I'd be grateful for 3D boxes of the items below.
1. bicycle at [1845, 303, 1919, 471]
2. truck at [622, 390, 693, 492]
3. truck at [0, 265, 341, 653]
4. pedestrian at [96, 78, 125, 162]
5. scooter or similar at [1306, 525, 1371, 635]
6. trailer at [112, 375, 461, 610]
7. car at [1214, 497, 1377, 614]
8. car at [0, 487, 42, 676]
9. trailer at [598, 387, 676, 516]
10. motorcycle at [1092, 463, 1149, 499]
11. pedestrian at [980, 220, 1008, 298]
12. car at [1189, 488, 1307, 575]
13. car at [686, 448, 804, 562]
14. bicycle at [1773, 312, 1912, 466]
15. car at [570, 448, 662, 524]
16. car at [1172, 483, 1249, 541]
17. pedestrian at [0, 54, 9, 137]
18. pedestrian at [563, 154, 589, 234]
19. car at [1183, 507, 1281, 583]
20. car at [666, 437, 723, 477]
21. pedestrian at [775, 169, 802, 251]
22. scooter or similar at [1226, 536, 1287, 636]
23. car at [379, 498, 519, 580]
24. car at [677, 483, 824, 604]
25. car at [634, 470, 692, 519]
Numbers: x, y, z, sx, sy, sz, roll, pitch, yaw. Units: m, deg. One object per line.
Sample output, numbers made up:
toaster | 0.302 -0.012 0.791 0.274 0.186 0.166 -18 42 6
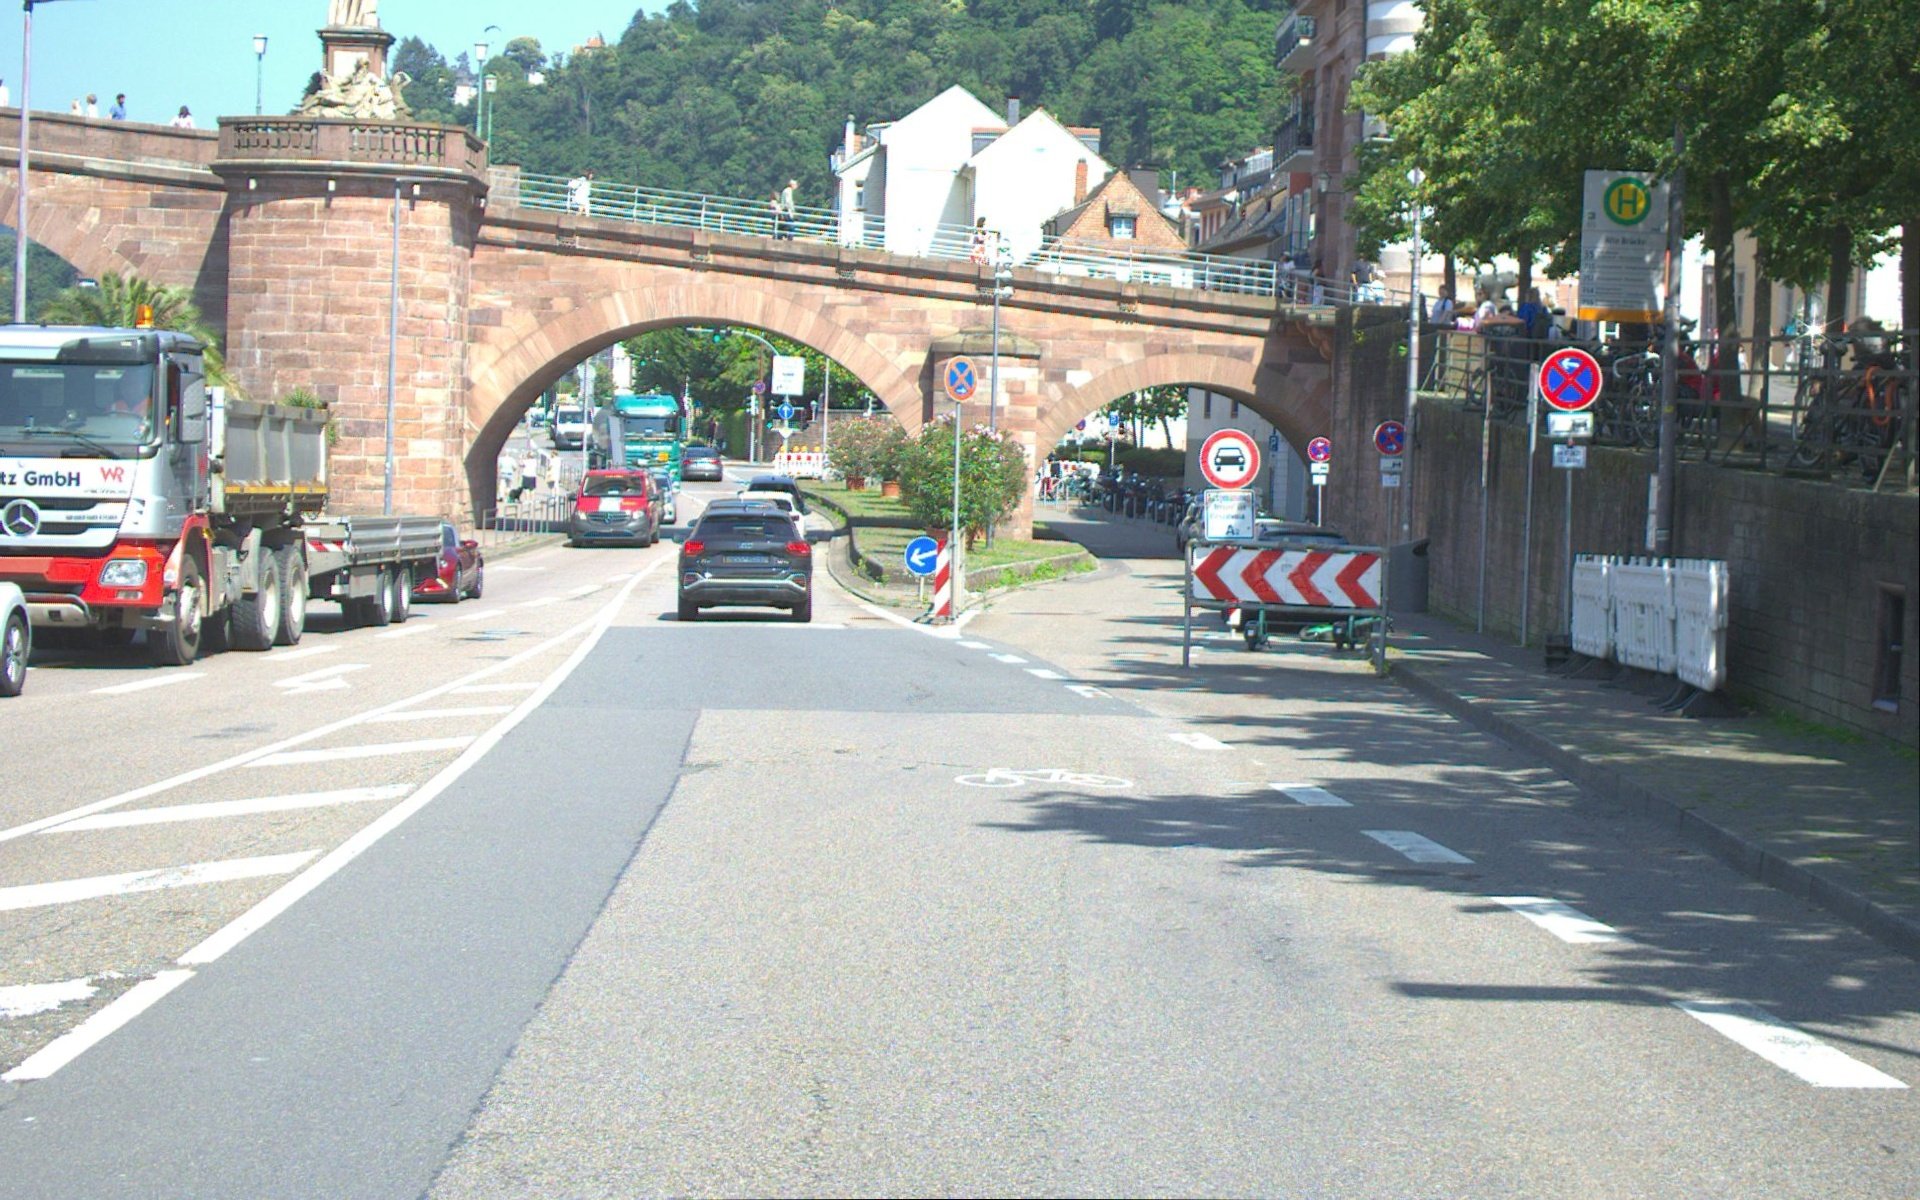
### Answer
bicycle | 6.425 -1.441 23.588 0.410 1.102 1.734 1 2 6
truck | -11.414 -6.076 130.102 2.523 3.735 6.248 0 4 -3
truck | -8.327 -1.363 34.501 2.642 3.445 7.872 0 2 1
pedestrian | -21.284 -12.022 86.120 0.623 2.006 0.695 1 2 -9
scooter or similar | 4.349 -0.240 39.458 0.532 1.226 1.270 1 2 15
trailer | -8.179 -1.314 42.652 2.697 2.522 6.947 4 2 1
car | 4.514 -0.647 46.839 1.843 1.445 4.535 2 2 1
car | -8.205 -0.130 25.228 1.778 1.438 3.997 1 2 1
trailer | -8.431 -3.882 89.951 1.742 3.308 3.384 0 2 0
motorcycle | 5.839 -4.330 125.258 2.191 1.262 0.628 -1 4 -40
pedestrian | 0.910 -9.116 91.943 0.684 2.006 0.586 1 2 -2
car | 5.123 -1.251 61.503 1.711 1.452 3.548 2 2 -1
car | -3.941 -1.784 63.636 1.993 2.006 4.001 1 2 -1
bicycle | 6.542 -1.548 25.559 0.410 1.102 1.735 0 2 -6
car | -8.424 -2.826 84.480 1.874 1.821 4.545 0 3 -1
car | 7.011 -2.497 96.529 1.893 1.487 4.417 1 3 1
pedestrian | -24.227 -12.666 86.268 0.623 2.006 0.695 1 2 -9
pedestrian | -10.034 -10.604 89.803 0.581 2.006 0.586 1 2 -2
car | 5.233 -1.078 65.695 1.711 1.383 4.407 1 2 6
car | -11.113 -5.970 143.722 1.855 1.656 4.002 0 2 -12
pedestrian | -4.333 -9.820 86.647 0.623 2.006 0.695 1 2 -1
scooter or similar | 3.357 -0.173 38.835 0.532 1.086 1.438 1 2 10
car | -7.786 -0.951 52.666 1.671 1.190 3.629 0 2 -1
car | -2.800 -0.804 46.685 1.857 1.518 4.001 1 2 -2
car | -8.947 -3.204 103.624 1.534 1.431 3.729 0 2 -2
